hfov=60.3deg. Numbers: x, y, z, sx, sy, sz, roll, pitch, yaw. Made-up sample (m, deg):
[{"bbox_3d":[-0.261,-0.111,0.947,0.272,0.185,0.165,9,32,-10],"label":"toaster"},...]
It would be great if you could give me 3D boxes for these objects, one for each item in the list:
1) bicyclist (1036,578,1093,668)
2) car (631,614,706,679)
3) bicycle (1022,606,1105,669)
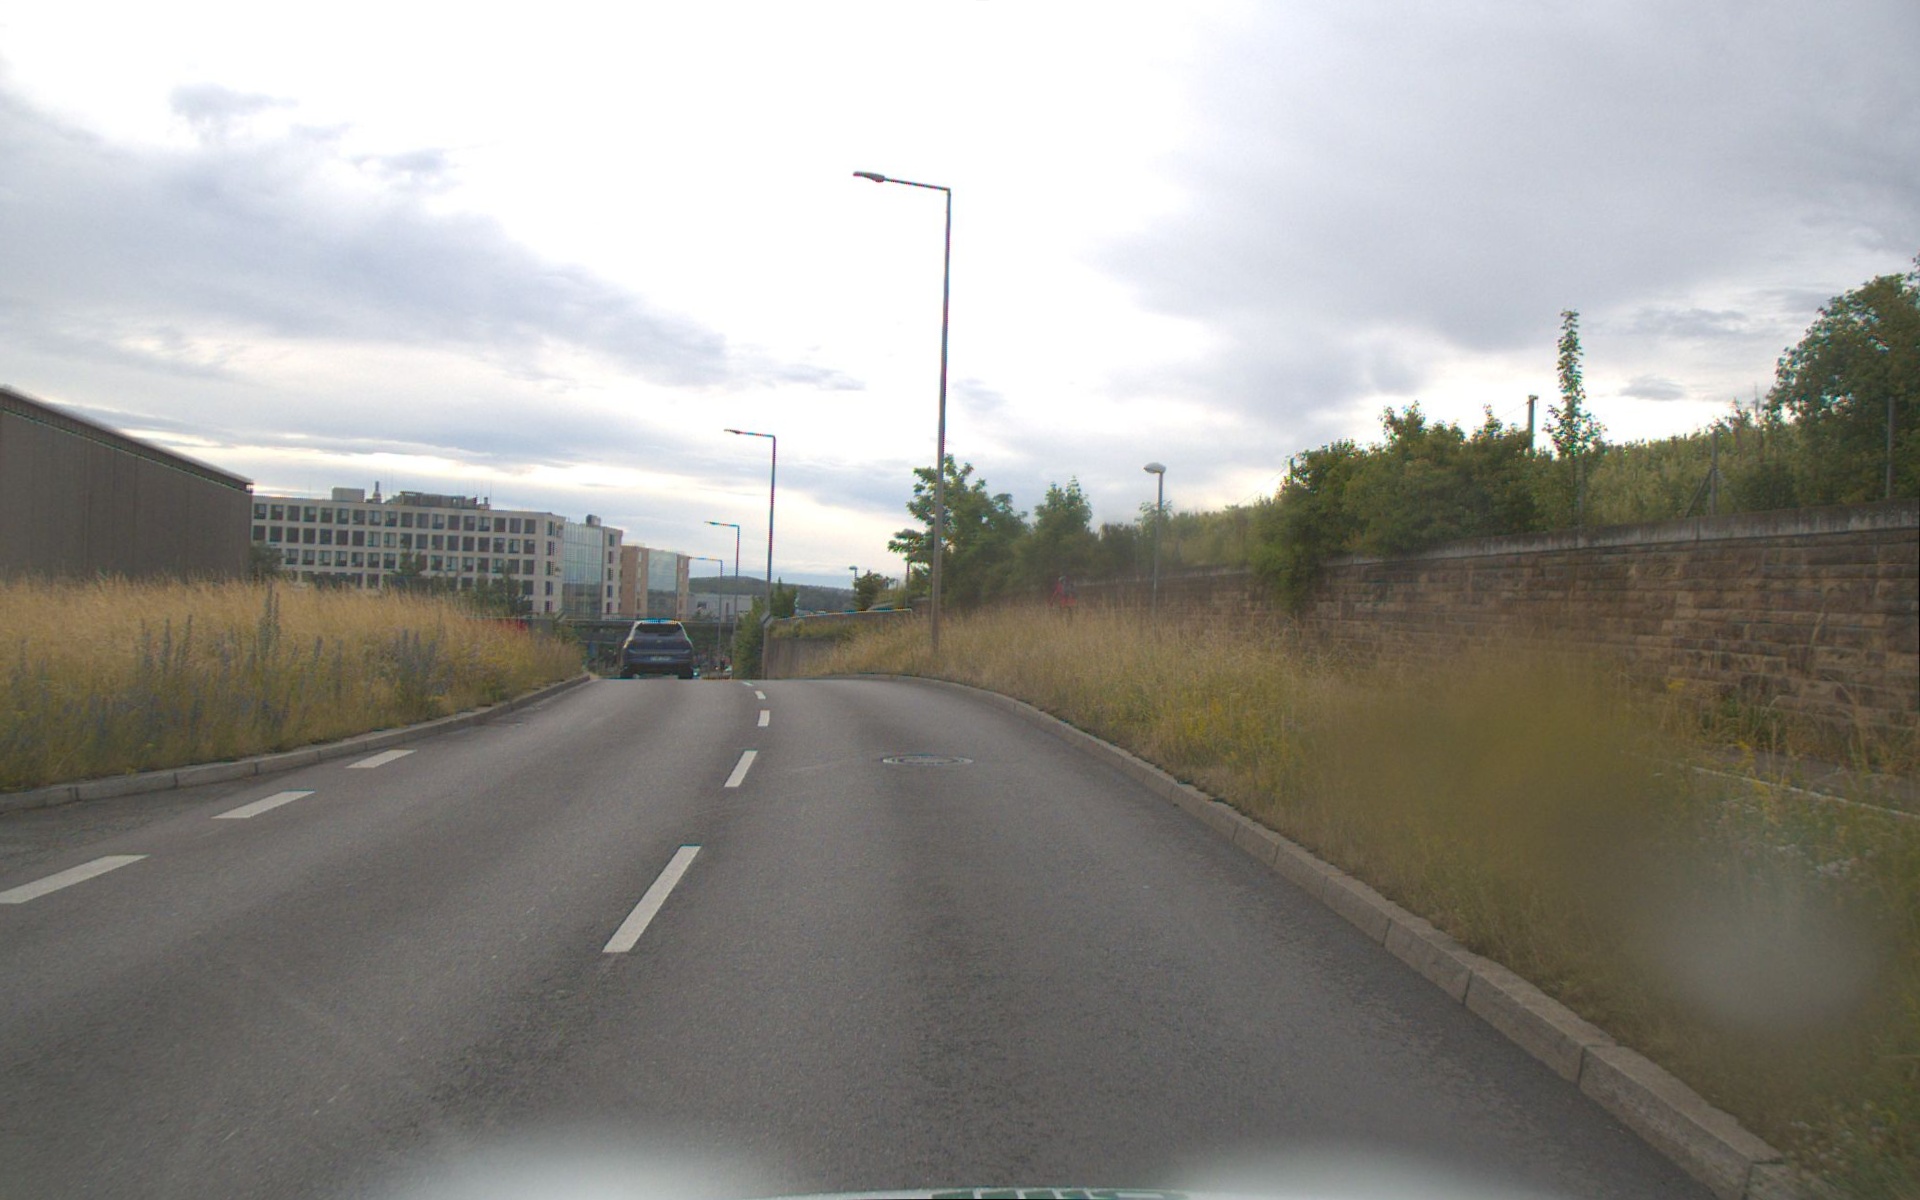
[{"bbox_3d":[2.370,0.521,37.616,0.854,1.942,1.289,4,-2,-13],"label":"bicyclist"},{"bbox_3d":[-7.339,1.139,41.689,1.717,1.445,3.470,3,0,-10],"label":"car"},{"bbox_3d":[2.323,0.847,37.695,0.854,1.311,3.474,4,-2,-13],"label":"bicycle"}]
